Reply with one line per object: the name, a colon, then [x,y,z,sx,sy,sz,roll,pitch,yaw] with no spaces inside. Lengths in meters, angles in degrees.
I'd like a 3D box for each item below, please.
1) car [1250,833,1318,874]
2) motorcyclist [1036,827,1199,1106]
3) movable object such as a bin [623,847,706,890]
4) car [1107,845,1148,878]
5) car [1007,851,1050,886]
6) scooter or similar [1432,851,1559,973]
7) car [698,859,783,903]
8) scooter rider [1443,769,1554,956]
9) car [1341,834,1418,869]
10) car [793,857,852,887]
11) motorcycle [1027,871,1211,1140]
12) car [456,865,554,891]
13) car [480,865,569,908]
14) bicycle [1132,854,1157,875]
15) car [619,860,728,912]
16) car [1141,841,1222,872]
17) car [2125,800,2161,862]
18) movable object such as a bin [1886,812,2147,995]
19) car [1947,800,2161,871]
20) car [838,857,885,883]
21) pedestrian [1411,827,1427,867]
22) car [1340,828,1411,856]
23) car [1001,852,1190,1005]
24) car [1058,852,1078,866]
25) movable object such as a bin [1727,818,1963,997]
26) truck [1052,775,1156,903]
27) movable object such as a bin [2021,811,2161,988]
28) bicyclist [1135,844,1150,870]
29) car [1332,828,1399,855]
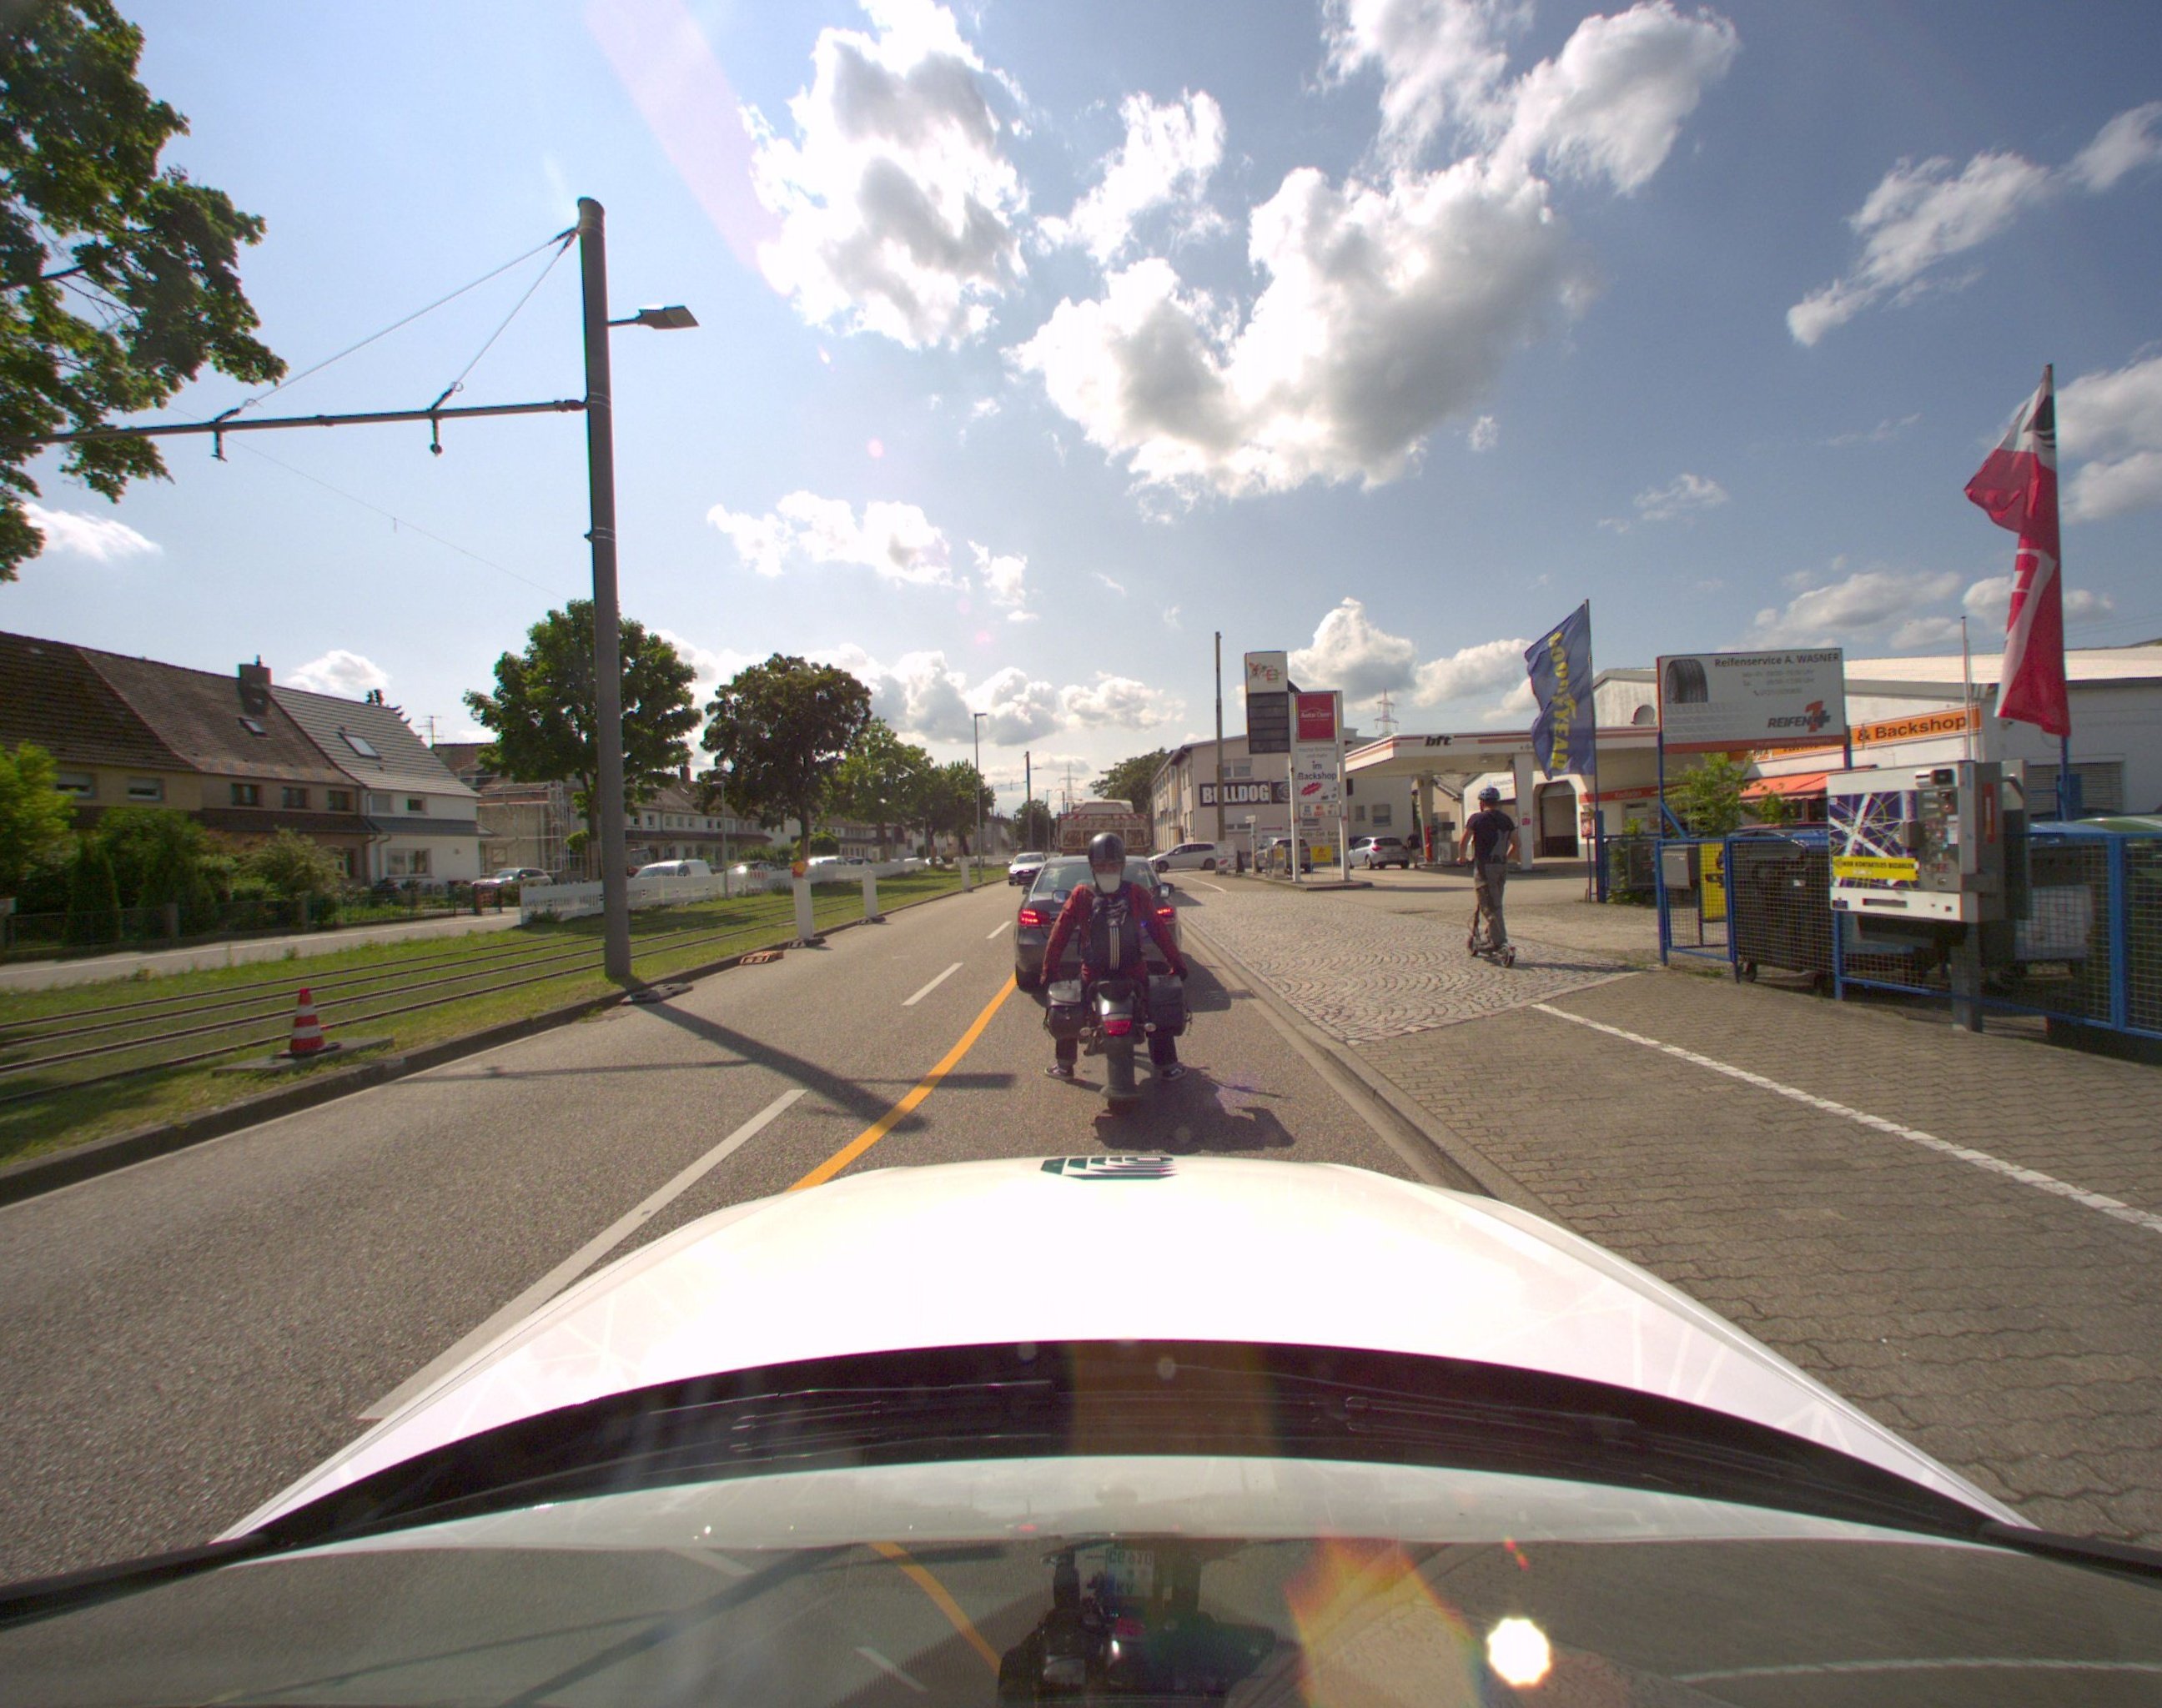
car: [9.045,-0.024,36.615,1.953,1.648,3.999,-3,0,0]
motorcyclist: [0.232,0.652,5.322,0.936,1.615,1.205,0,0,1]
movable object such as a bin: [-26.082,0.867,51.208,4.351,2.449,1.776,-3,0,-21]
car: [2.187,0.341,39.154,1.814,1.464,4.002,-2,0,2]
car: [-2.414,0.627,38.041,1.649,1.447,4.302,-3,0,0]
scooter or similar: [4.533,0.591,9.026,0.538,1.195,1.611,-4,0,1]
car: [-15.264,1.163,36.736,1.986,1.750,4.001,-3,0,2]
scooter rider: [4.674,0.089,9.167,0.714,1.963,0.785,-4,-1,1]
car: [13.564,-0.105,37.243,1.953,1.420,3.999,-3,0,0]
car: [-15.198,1.043,48.118,1.986,1.606,4.001,-3,0,2]
motorcycle: [0.235,0.805,5.503,0.936,1.320,2.646,0,0,2]
car: [-27.557,1.133,39.134,1.677,1.052,3.984,-3,0,3]
car: [-24.398,1.390,35.801,1.678,1.721,3.031,-3,0,2]
bicycle: [4.370,0.703,55.767,0.686,1.361,2.434,-2,0,29]
car: [-15.540,1.174,31.300,1.986,1.750,4.001,-3,0,2]
car: [5.800,0.143,47.356,4.326,1.551,1.945,-3,0,-7]
car: [26.375,-0.630,18.128,3.992,1.388,1.613,-3,0,3]
movable object such as a bin: [8.132,0.410,7.143,1.251,1.444,0.824,-3,-1,2]
car: [21.864,-0.405,18.074,3.483,1.360,1.612,-3,0,1]
car: [-14.968,1.074,55.763,1.986,1.606,4.001,-3,0,2]
pedestrian: [14.732,-0.301,35.501,0.395,1.689,0.486,-3,-1,3]
car: [19.595,-0.785,54.237,3.973,1.648,1.966,-3,0,1]
car: [0.201,0.730,9.981,1.815,1.424,4.002,-2,0,2]
car: [-1.360,0.542,85.334,1.840,1.386,4.345,-3,0,1]
movable object such as a bin: [6.765,0.454,7.280,1.251,1.444,0.824,-3,-1,2]
truck: [0.804,-0.378,26.169,2.600,3.256,9.187,-3,0,2]
movable object such as a bin: [9.454,0.349,7.144,1.318,1.444,0.953,-3,-1,-6]
bicyclist: [4.217,0.205,55.694,0.665,1.744,0.818,-2,0,29]
car: [19.794,-0.867,56.782,3.973,1.648,1.966,-3,0,1]
